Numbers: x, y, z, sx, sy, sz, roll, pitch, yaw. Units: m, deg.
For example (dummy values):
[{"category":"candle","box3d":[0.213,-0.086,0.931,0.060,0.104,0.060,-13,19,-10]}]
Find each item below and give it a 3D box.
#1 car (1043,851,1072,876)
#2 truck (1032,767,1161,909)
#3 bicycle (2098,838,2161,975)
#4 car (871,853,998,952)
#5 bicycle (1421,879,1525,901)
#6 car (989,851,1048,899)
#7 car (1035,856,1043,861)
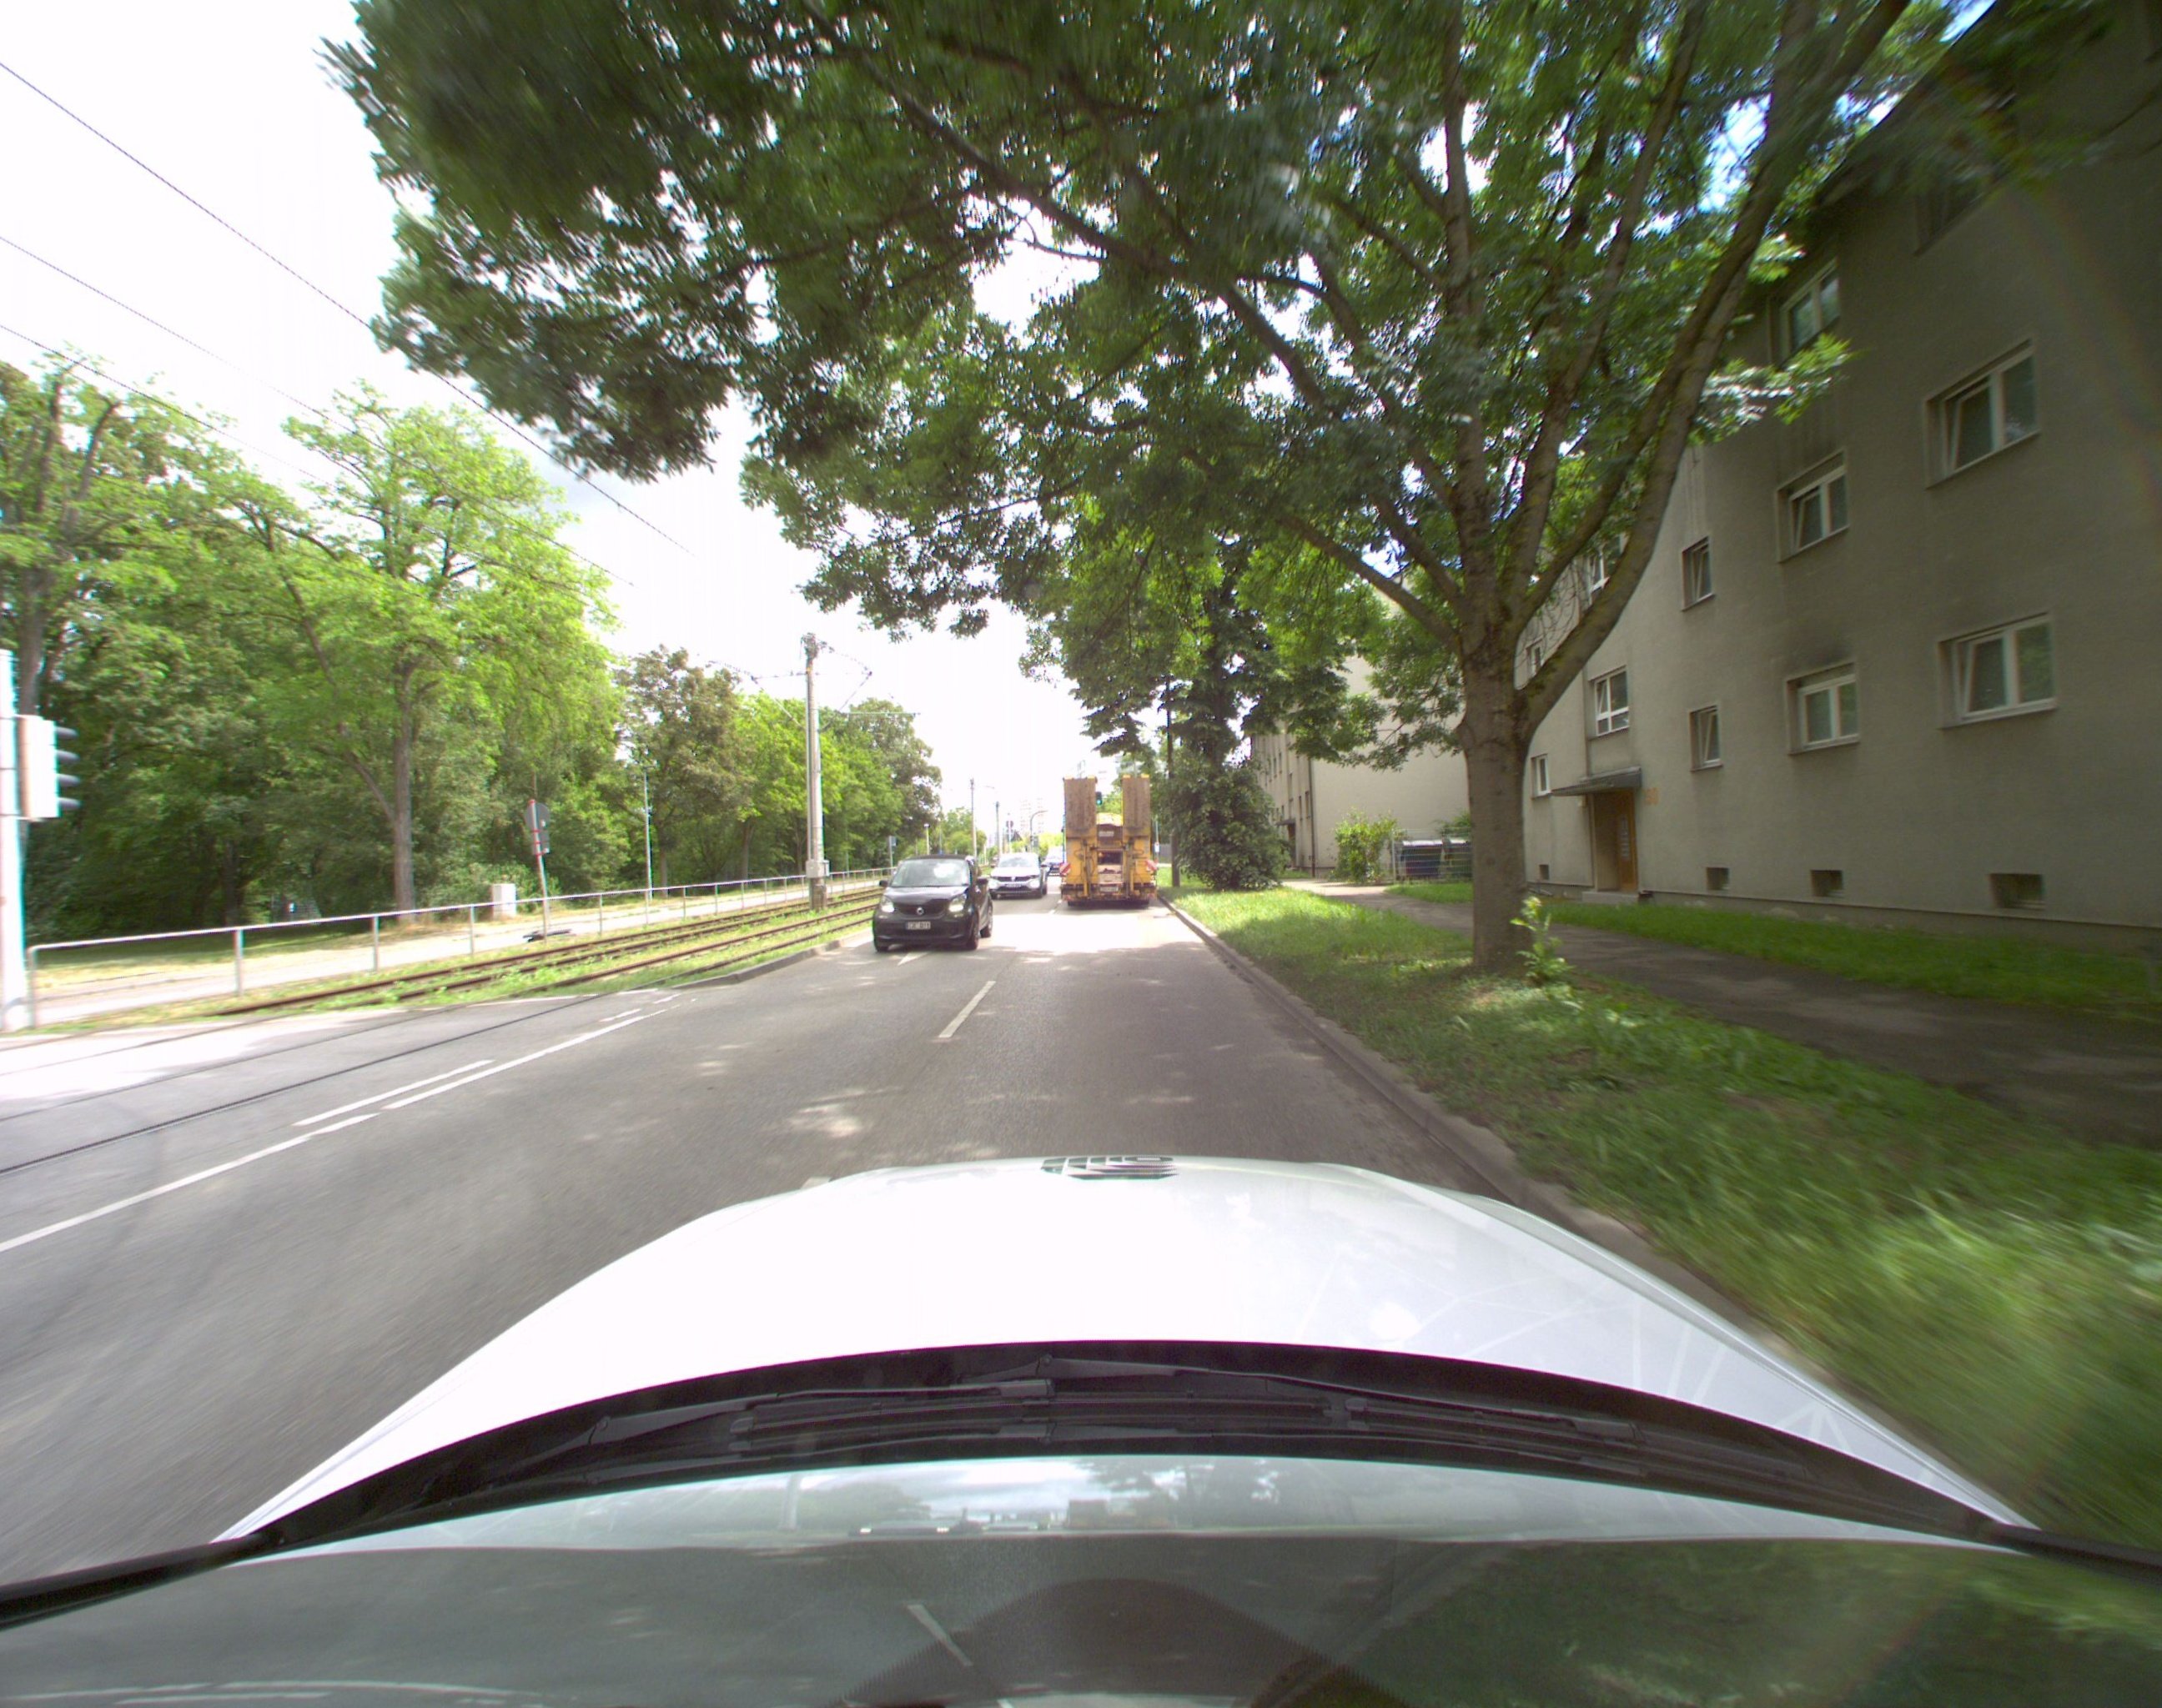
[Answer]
[{"category":"car","box3d":[-1.516,0.585,54.027,1.707,1.566,4.167,-1,0,1]},{"category":"truck","box3d":[0.431,-0.348,27.520,3.305,3.651,12.559,-1,-1,0]},{"category":"bicycle","box3d":[9.005,0.402,6.068,0.438,1.080,1.735,0,-1,-34]},{"category":"car","box3d":[-2.472,0.762,14.466,1.631,1.533,3.275,-1,0,0]},{"category":"bicycle","box3d":[9.483,0.870,19.766,2.190,0.508,0.675,-1,-1,12]},{"category":"car","box3d":[-2.152,0.695,28.879,1.710,1.544,4.001,-1,1,1]},{"category":"car","box3d":[-12.102,1.263,234.861,1.990,1.420,3.992,-1,-1,-5]}]
